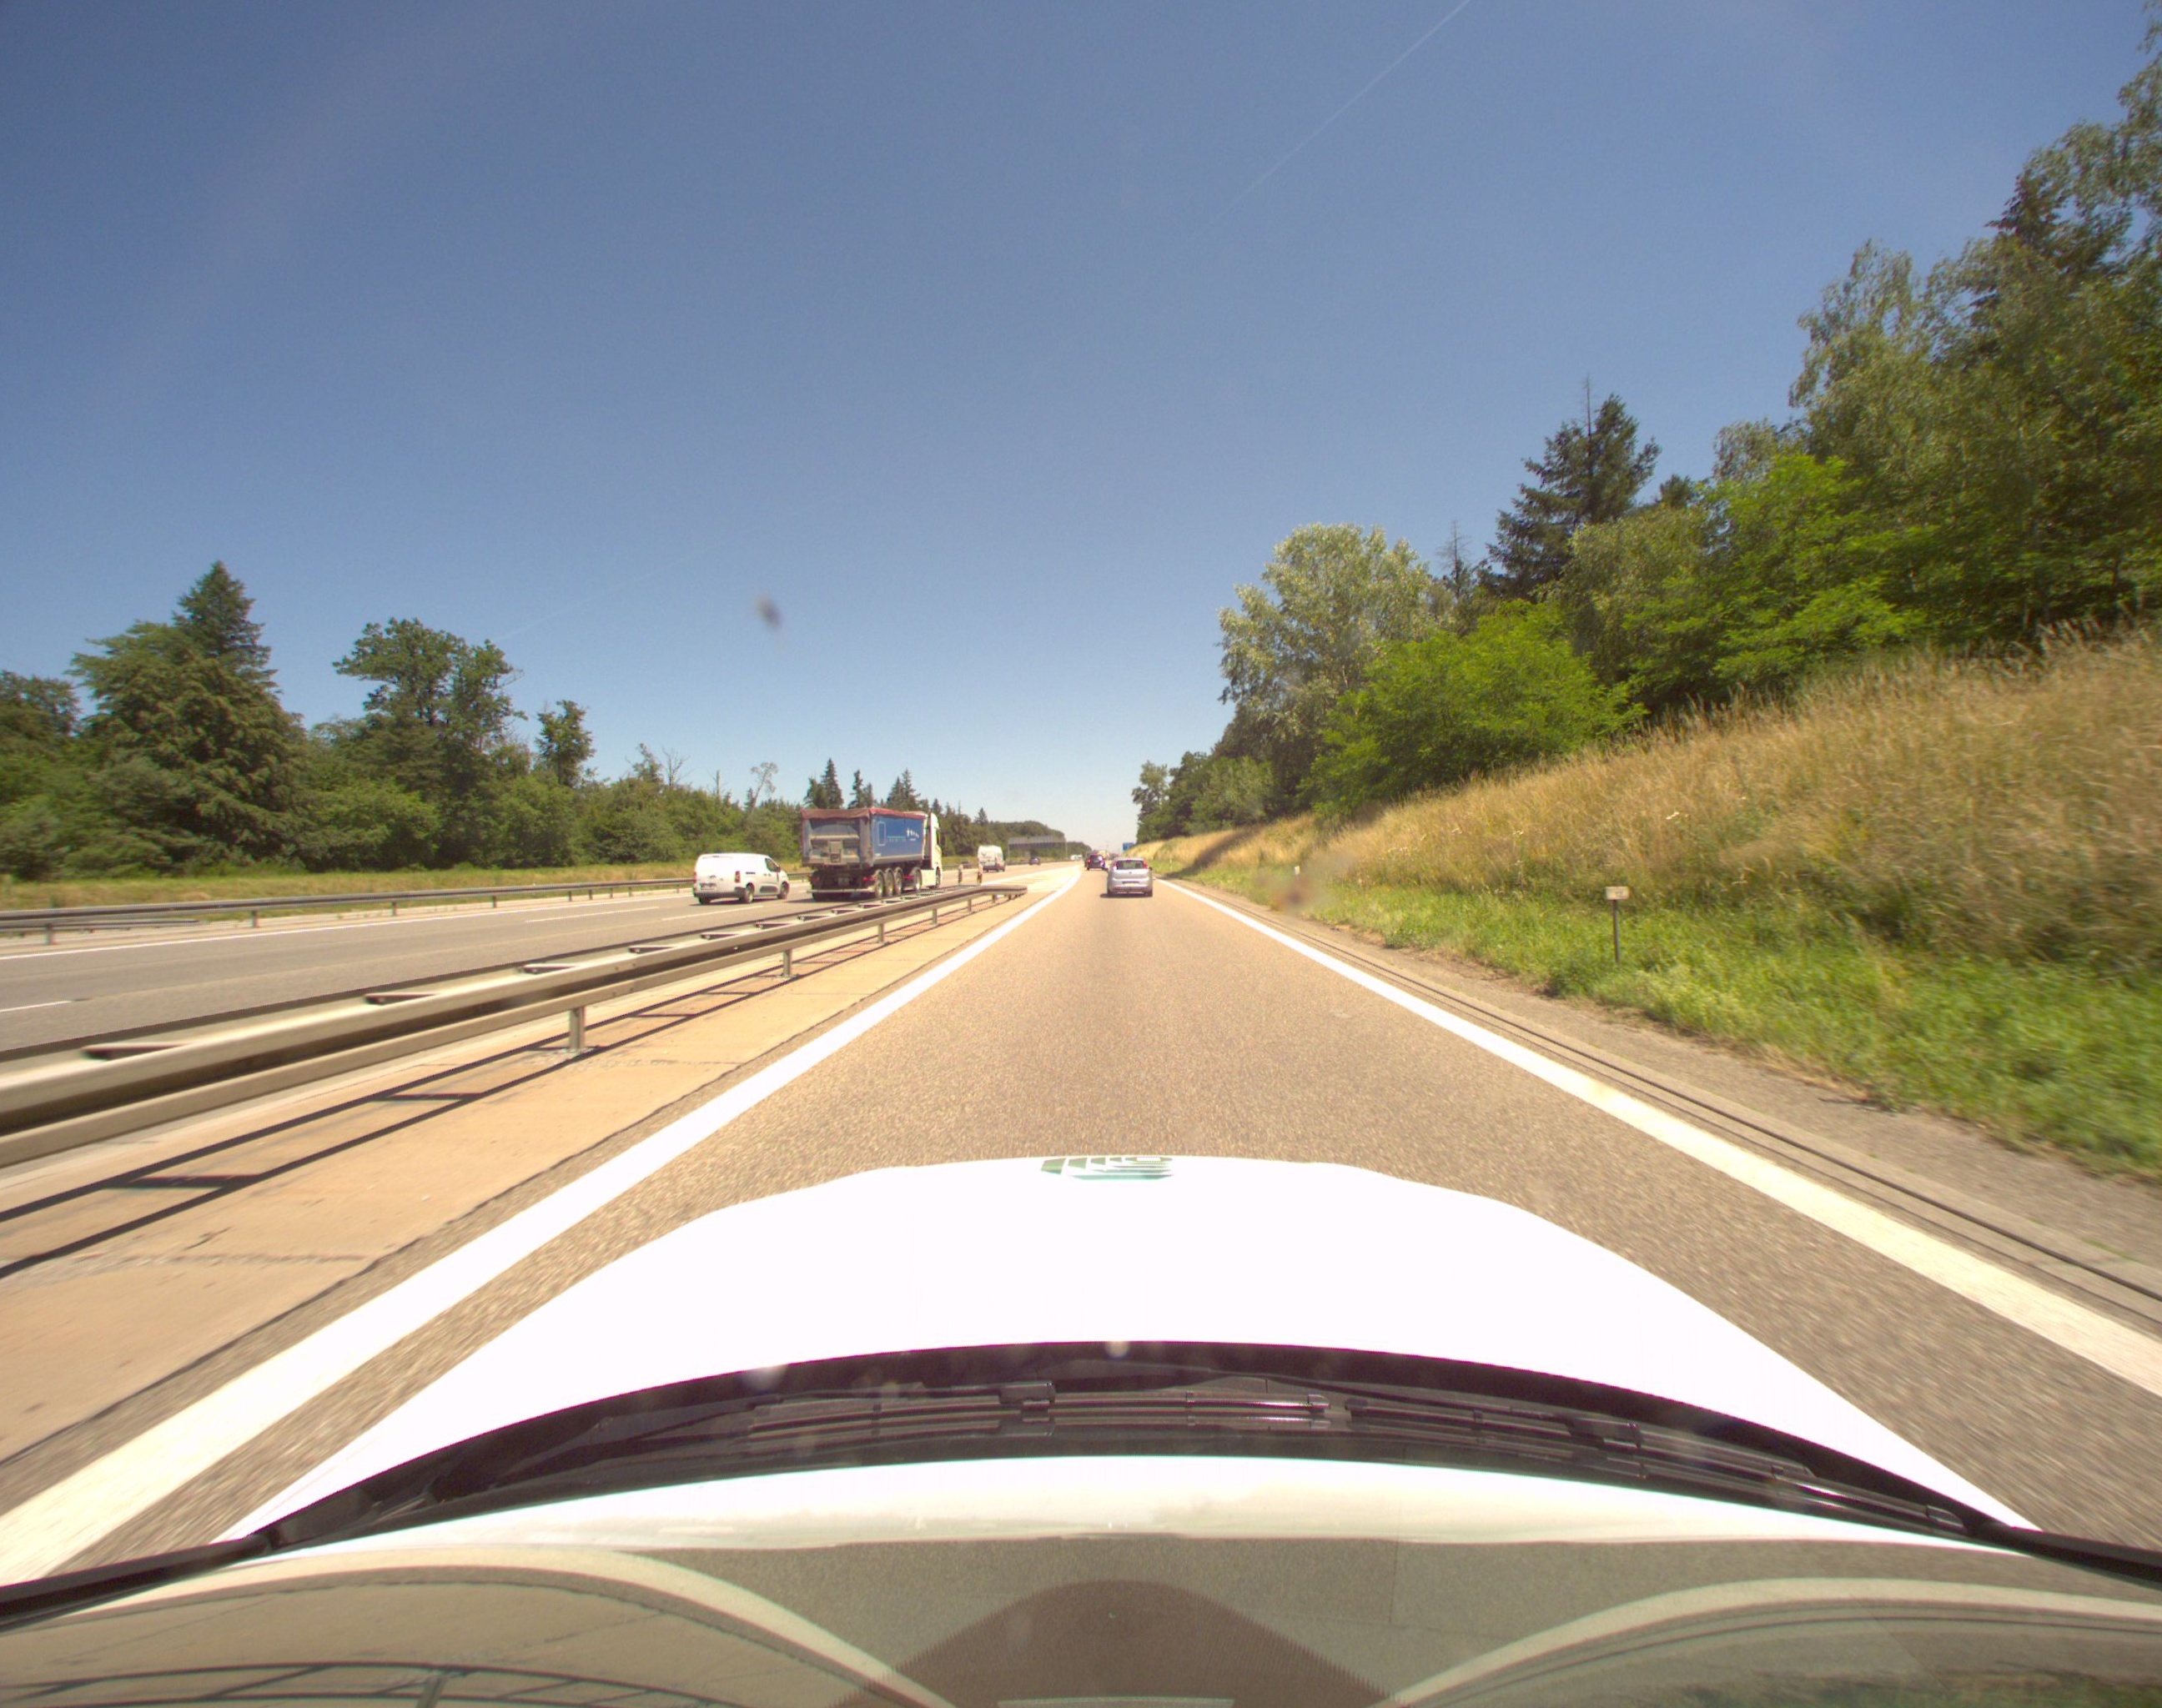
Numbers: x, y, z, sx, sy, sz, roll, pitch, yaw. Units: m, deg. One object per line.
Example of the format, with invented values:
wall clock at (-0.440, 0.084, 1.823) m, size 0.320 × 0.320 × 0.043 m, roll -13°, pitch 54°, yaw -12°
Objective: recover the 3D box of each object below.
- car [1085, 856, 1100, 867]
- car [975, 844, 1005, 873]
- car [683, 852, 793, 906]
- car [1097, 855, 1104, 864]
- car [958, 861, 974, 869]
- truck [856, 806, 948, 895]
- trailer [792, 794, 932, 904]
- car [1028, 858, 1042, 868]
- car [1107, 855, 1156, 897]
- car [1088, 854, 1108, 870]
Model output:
car at (1.590, 1.014, 112.260) m, size 1.886 × 1.469 × 4.265 m, roll 0°, pitch -1°, yaw 3°
car at (-9.582, 0.474, 86.159) m, size 2.251 × 2.951 × 6.117 m, roll 0°, pitch -1°, yaw 2°
car at (-12.647, 0.870, 30.414) m, size 1.824 × 1.833 × 4.720 m, roll -2°, pitch 0°, yaw 3°
car at (4.282, 1.152, 179.597) m, size 1.605 × 2.014 × 4.001 m, roll 0°, pitch -1°, yaw 1°
car at (-22.163, 2.041, 156.896) m, size 2.149 × 1.498 × 4.861 m, roll -1°, pitch 0°, yaw 1°
truck at (-8.174, -0.127, 38.038) m, size 2.674 × 3.758 × 5.947 m, roll -1°, pitch 0°, yaw 2°
trailer at (-8.419, -0.153, 32.774) m, size 2.726 × 3.758 × 9.114 m, roll -1°, pitch 0°, yaw 2°
car at (-8.816, 1.785, 156.130) m, size 2.149 × 1.814 × 4.861 m, roll -1°, pitch 0°, yaw 1°
car at (1.850, 0.786, 30.846) m, size 1.713 × 1.491 × 3.738 m, roll -1°, pitch 0°, yaw 1°
car at (1.844, 0.894, 87.512) m, size 1.823 × 1.672 × 4.005 m, roll 0°, pitch -1°, yaw 5°
